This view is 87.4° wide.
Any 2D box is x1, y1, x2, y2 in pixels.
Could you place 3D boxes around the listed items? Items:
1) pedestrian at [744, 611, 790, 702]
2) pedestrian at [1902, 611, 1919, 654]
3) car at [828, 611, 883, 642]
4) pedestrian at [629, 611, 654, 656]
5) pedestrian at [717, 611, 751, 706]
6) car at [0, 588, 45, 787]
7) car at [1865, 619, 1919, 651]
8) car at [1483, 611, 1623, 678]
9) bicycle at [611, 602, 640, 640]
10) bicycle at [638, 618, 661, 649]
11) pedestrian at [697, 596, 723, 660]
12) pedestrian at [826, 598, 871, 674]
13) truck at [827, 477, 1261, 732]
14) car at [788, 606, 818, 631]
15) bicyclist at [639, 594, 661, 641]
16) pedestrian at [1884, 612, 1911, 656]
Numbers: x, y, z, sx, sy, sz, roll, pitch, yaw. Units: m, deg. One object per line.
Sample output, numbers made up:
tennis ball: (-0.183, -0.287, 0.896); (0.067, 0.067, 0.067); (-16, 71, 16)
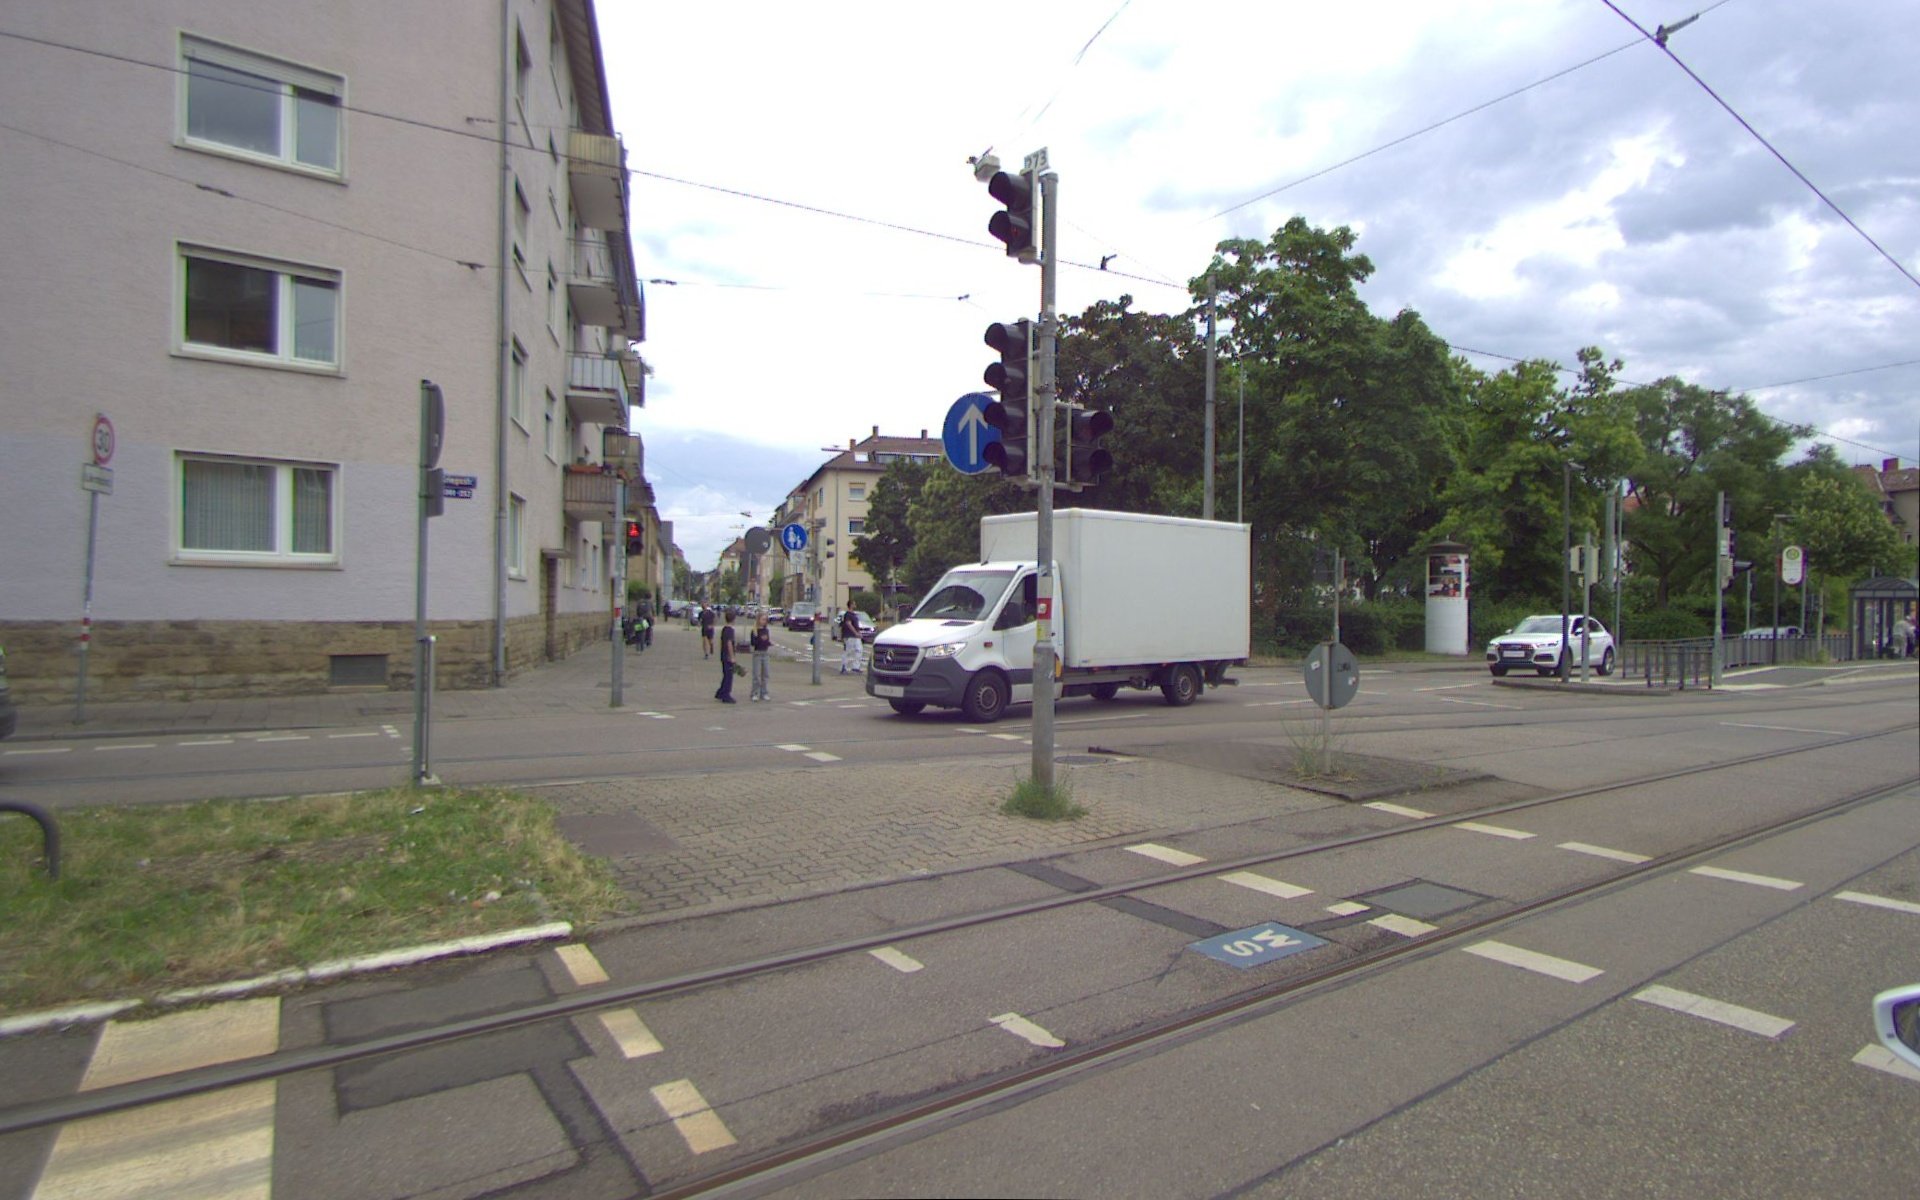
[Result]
pedestrian: (-3.406, 0.984, 17.744); (0.524, 1.578, 0.569); (1, 0, 32)
pedestrian: (37.438, 1.271, 39.274); (1.016, 1.682, 0.762); (1, 0, -38)
car: (-4.962, 1.232, 47.265); (1.967, 1.372, 4.025); (1, 0, -15)
pedestrian: (-9.505, 0.996, 29.985); (0.680, 1.305, 0.728); (1, 0, -19)
pedestrian: (-3.834, 0.973, 17.037); (0.525, 1.578, 0.569); (1, 0, -15)
car: (-9.562, 0.642, 7.321); (4.094, 1.555, 1.632); (1, 0, -37)
car: (47.372, 1.773, 50.707); (3.849, 1.513, 1.758); (1, 0, -36)
car: (16.357, 1.190, 27.633); (4.496, 1.661, 1.757); (1, 0, -38)
bicycle: (-13.554, 0.820, 40.773); (0.868, 1.485, 2.887); (1, 0, -14)
bicycle: (-10.777, 1.155, 34.913); (0.645, 1.016, 1.960); (1, 0, -14)
pedestrian: (-7.351, 0.813, 29.525); (0.673, 1.837, 0.719); (1, 0, -19)
pedestrian: (-2.846, 0.899, 25.667); (1.025, 1.899, 0.836); (1, 0, 0)
truck: (1.628, 0.122, 15.750); (7.269, 3.199, 2.167); (1, 0, -39)
car: (-9.843, 1.156, 63.012); (1.609, 1.462, 3.948); (1, 0, -6)
bicyclist: (-10.751, 0.599, 34.842); (0.647, 1.585, 0.858); (1, 0, -15)
pedestrian: (35.326, 1.274, 37.840); (0.628, 1.645, 0.672); (1, 0, -39)
